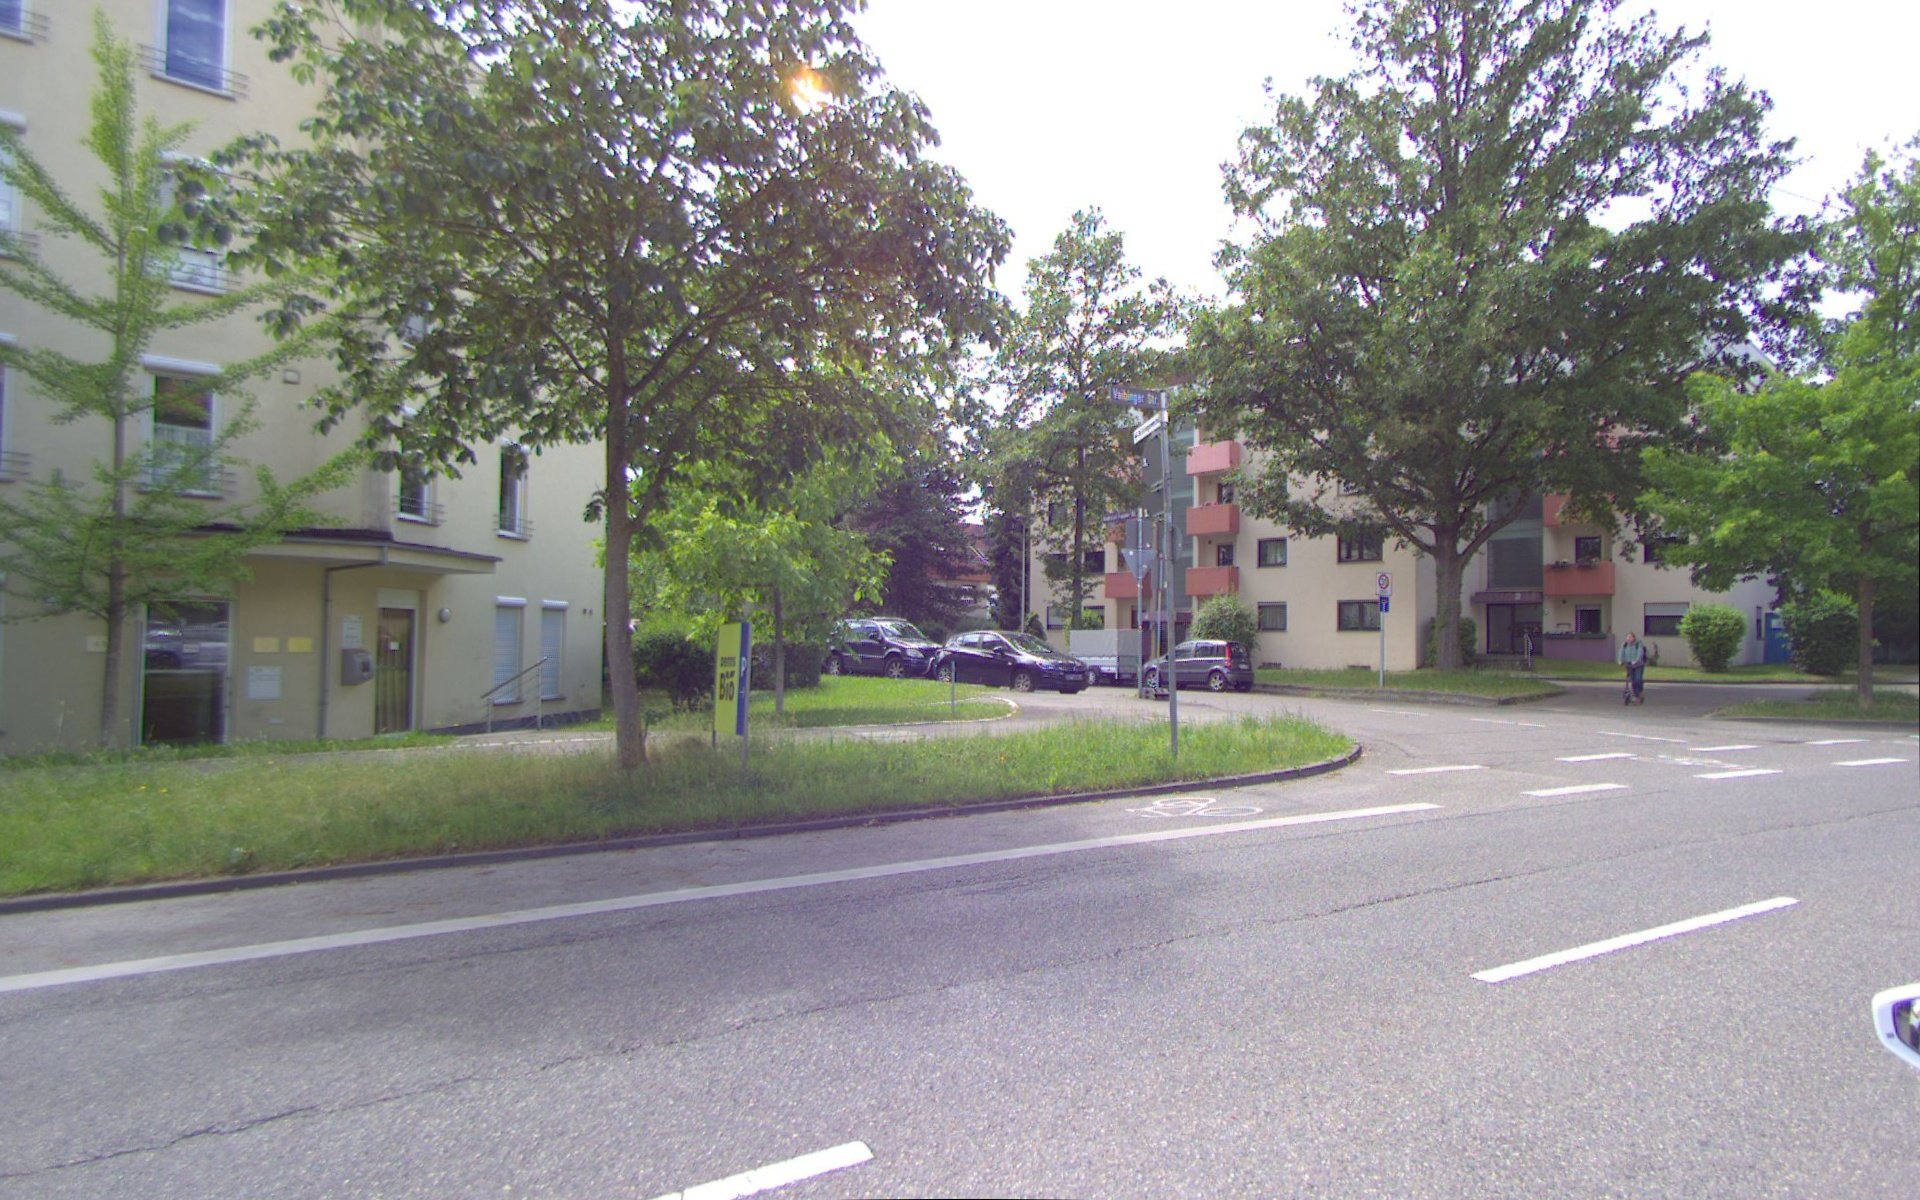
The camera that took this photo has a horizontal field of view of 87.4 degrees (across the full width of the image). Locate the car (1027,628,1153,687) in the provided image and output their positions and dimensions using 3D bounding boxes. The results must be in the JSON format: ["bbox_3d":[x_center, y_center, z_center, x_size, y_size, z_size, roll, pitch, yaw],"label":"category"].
[{"bbox_3d":[4.361,1.976,34.109,1.832,1.868,3.952,2,-5,-42],"label":"car"}]

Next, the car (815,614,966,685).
[{"bbox_3d":[-2.001,1.311,27.797,1.857,1.675,4.379,2,0,-41],"label":"car"}]

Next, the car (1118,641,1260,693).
[{"bbox_3d":[6.945,1.990,30.658,3.945,1.471,1.687,-2,-3,43],"label":"car"}]

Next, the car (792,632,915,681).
[{"bbox_3d":[-4.157,2.155,39.155,4.337,1.817,2.124,-1,-2,28],"label":"car"}]

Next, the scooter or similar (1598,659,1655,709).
[{"bbox_3d":[15.562,1.942,23.469,0.934,1.098,0.753,2,0,-30],"label":"scooter or similar"}]

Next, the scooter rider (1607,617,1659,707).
[{"bbox_3d":[15.685,1.424,23.415,0.785,2.040,0.673,2,0,-30],"label":"scooter rider"}]

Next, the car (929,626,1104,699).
[{"bbox_3d":[1.250,1.413,23.769,1.725,1.417,4.100,2,0,-42],"label":"car"}]
